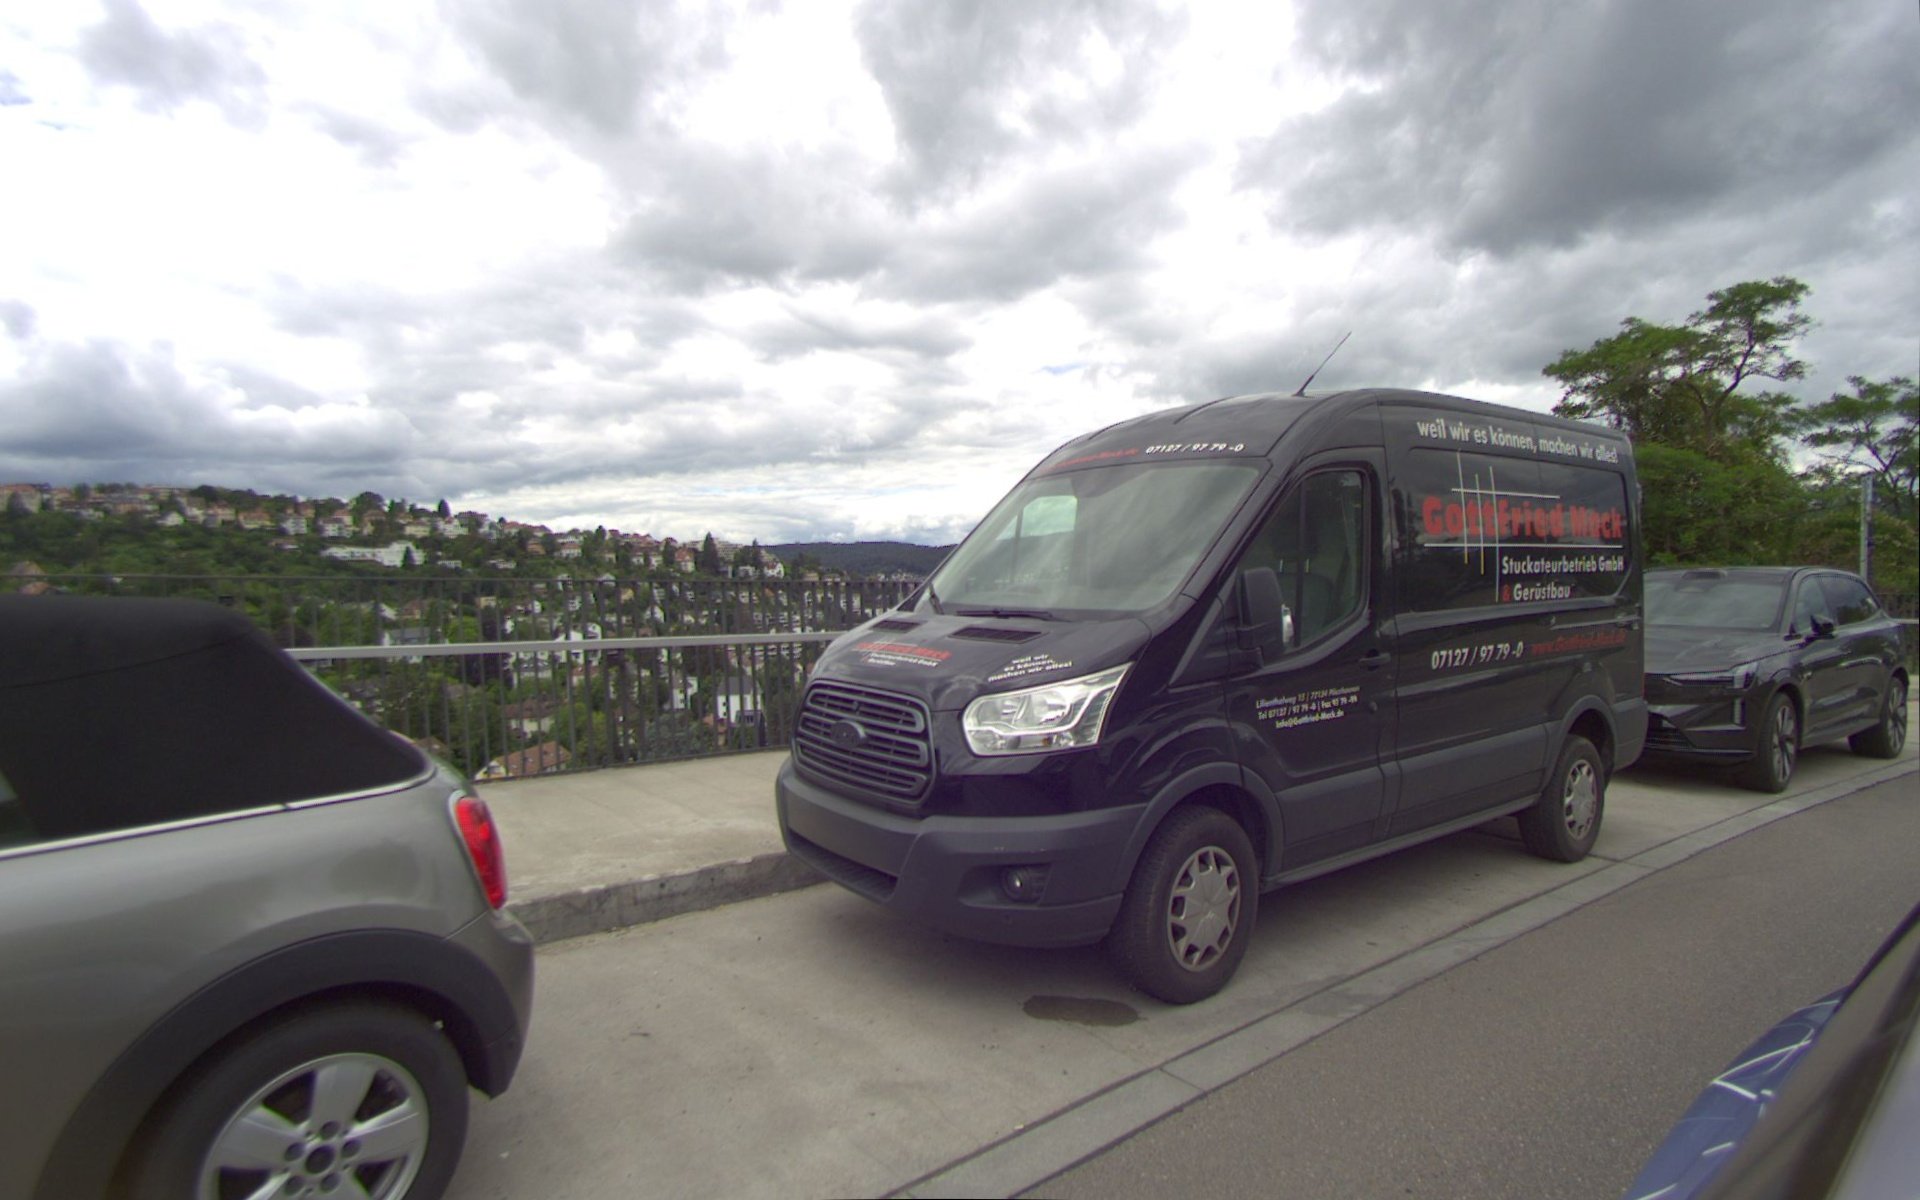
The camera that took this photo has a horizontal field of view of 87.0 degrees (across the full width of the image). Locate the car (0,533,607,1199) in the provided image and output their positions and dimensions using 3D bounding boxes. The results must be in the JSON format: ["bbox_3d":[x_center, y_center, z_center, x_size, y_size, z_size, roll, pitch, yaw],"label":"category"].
[{"bbox_3d":[-2.768,0.606,1.661,3.787,1.449,1.715,-1,2,-45],"label":"car"}]

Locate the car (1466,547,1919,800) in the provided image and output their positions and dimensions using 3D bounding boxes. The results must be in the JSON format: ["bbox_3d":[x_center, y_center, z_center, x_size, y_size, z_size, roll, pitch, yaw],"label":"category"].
[{"bbox_3d":[6.939,0.413,9.215,4.953,1.739,2.001,-1,3,-34],"label":"car"}]

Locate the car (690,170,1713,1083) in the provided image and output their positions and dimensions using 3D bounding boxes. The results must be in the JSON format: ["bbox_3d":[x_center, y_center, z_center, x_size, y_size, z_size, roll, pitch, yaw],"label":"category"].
[{"bbox_3d":[1.702,0.010,5.420,5.664,2.552,2.173,0,3,-37],"label":"car"}]
